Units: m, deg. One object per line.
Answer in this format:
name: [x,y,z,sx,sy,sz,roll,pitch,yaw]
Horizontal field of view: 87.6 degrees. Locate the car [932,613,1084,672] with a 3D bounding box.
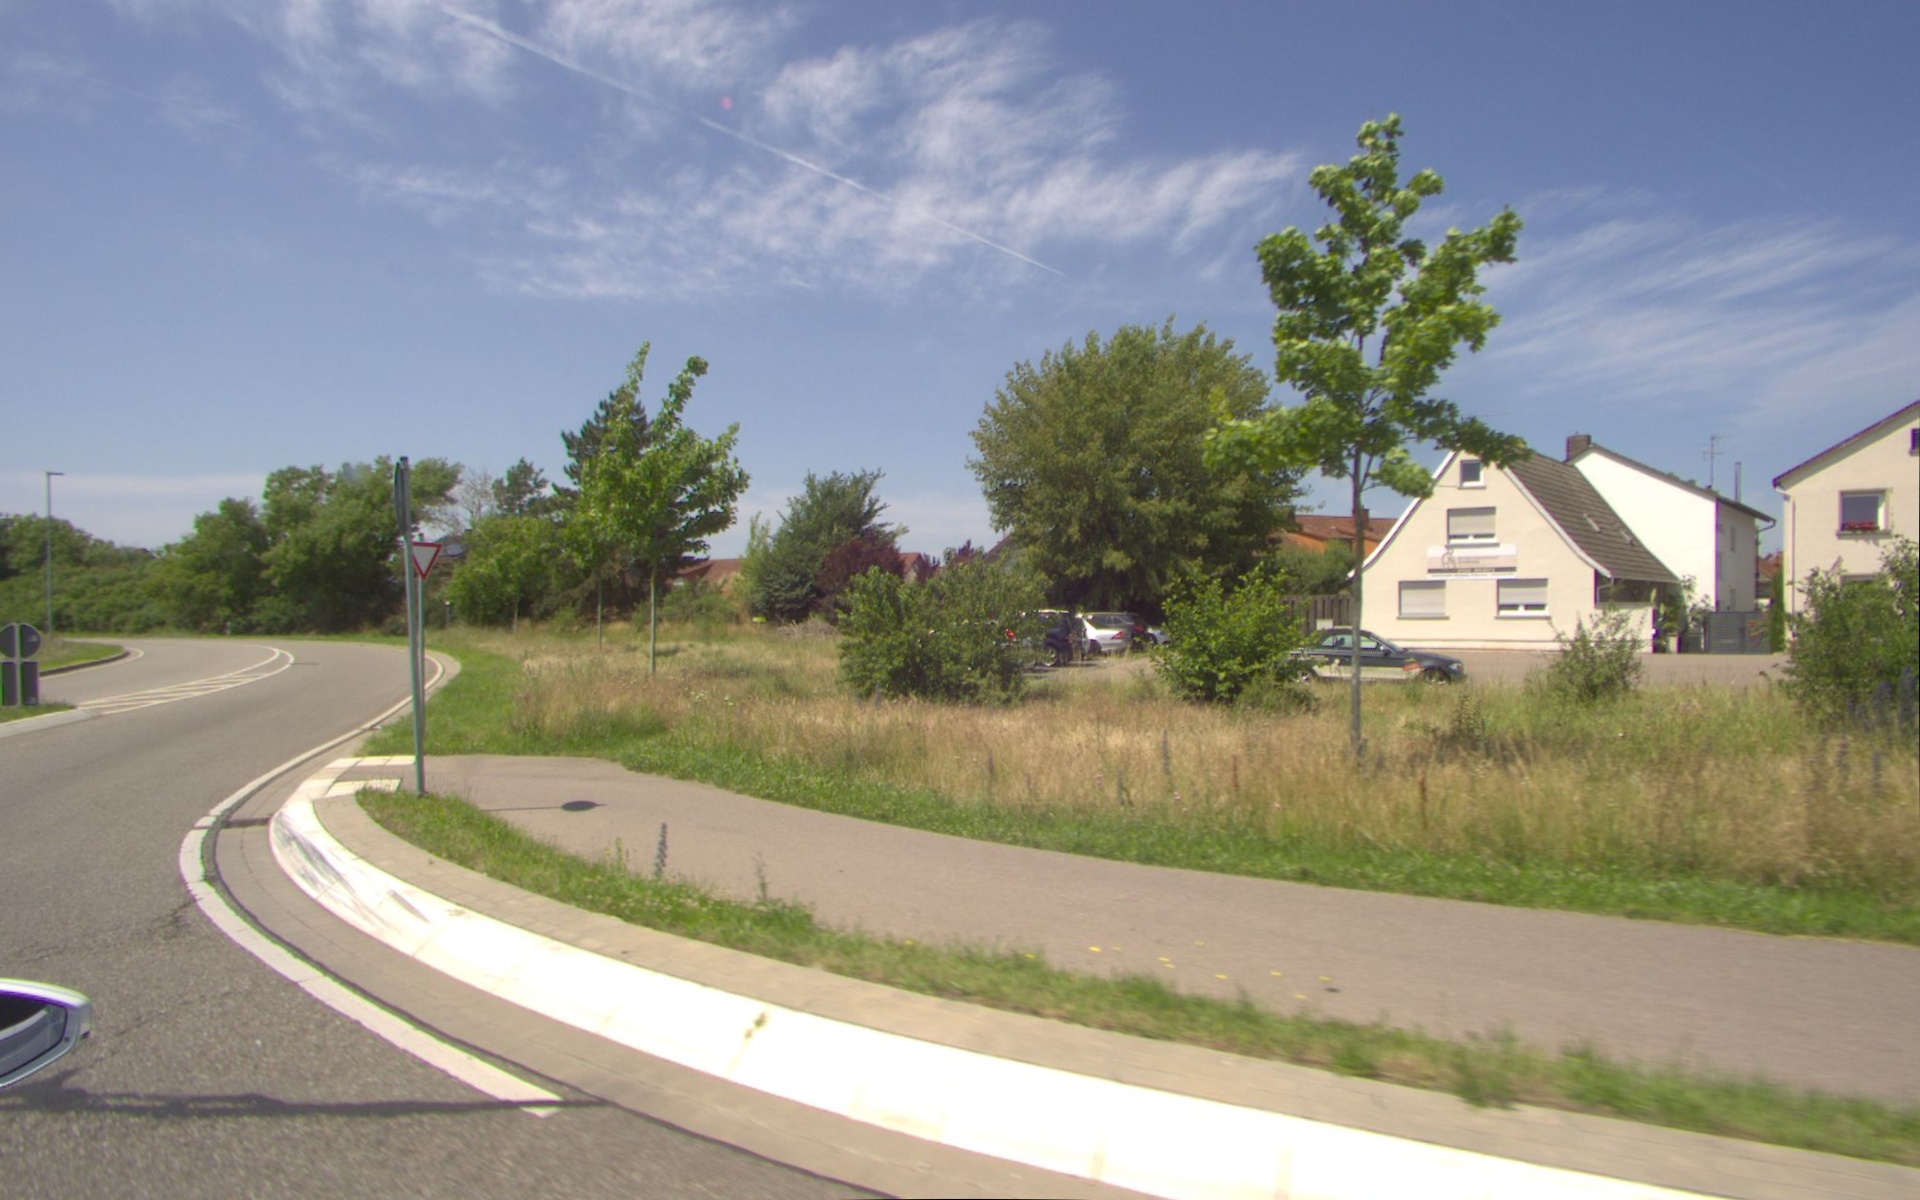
car: [1.344,1.160,28.260,3.900,1.462,1.769,1,0,24]

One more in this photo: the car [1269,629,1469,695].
car: [8.867,1.318,22.075,3.928,1.328,1.745,0,-1,17]

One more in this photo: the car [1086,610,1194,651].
car: [7.163,1.177,39.854,3.900,1.462,1.769,1,0,24]

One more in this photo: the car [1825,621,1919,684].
car: [22.852,1.215,24.104,3.937,1.411,1.645,0,-1,-25]

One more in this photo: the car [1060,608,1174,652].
car: [5.919,1.103,37.645,3.900,1.462,1.769,1,0,24]

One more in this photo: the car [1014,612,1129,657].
car: [3.944,1.188,35.111,3.924,1.505,1.747,0,-1,10]

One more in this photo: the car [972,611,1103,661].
car: [2.546,1.132,32.790,3.900,1.462,1.769,1,0,24]

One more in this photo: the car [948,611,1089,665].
car: [1.775,1.122,30.506,3.900,1.462,1.769,1,0,24]
